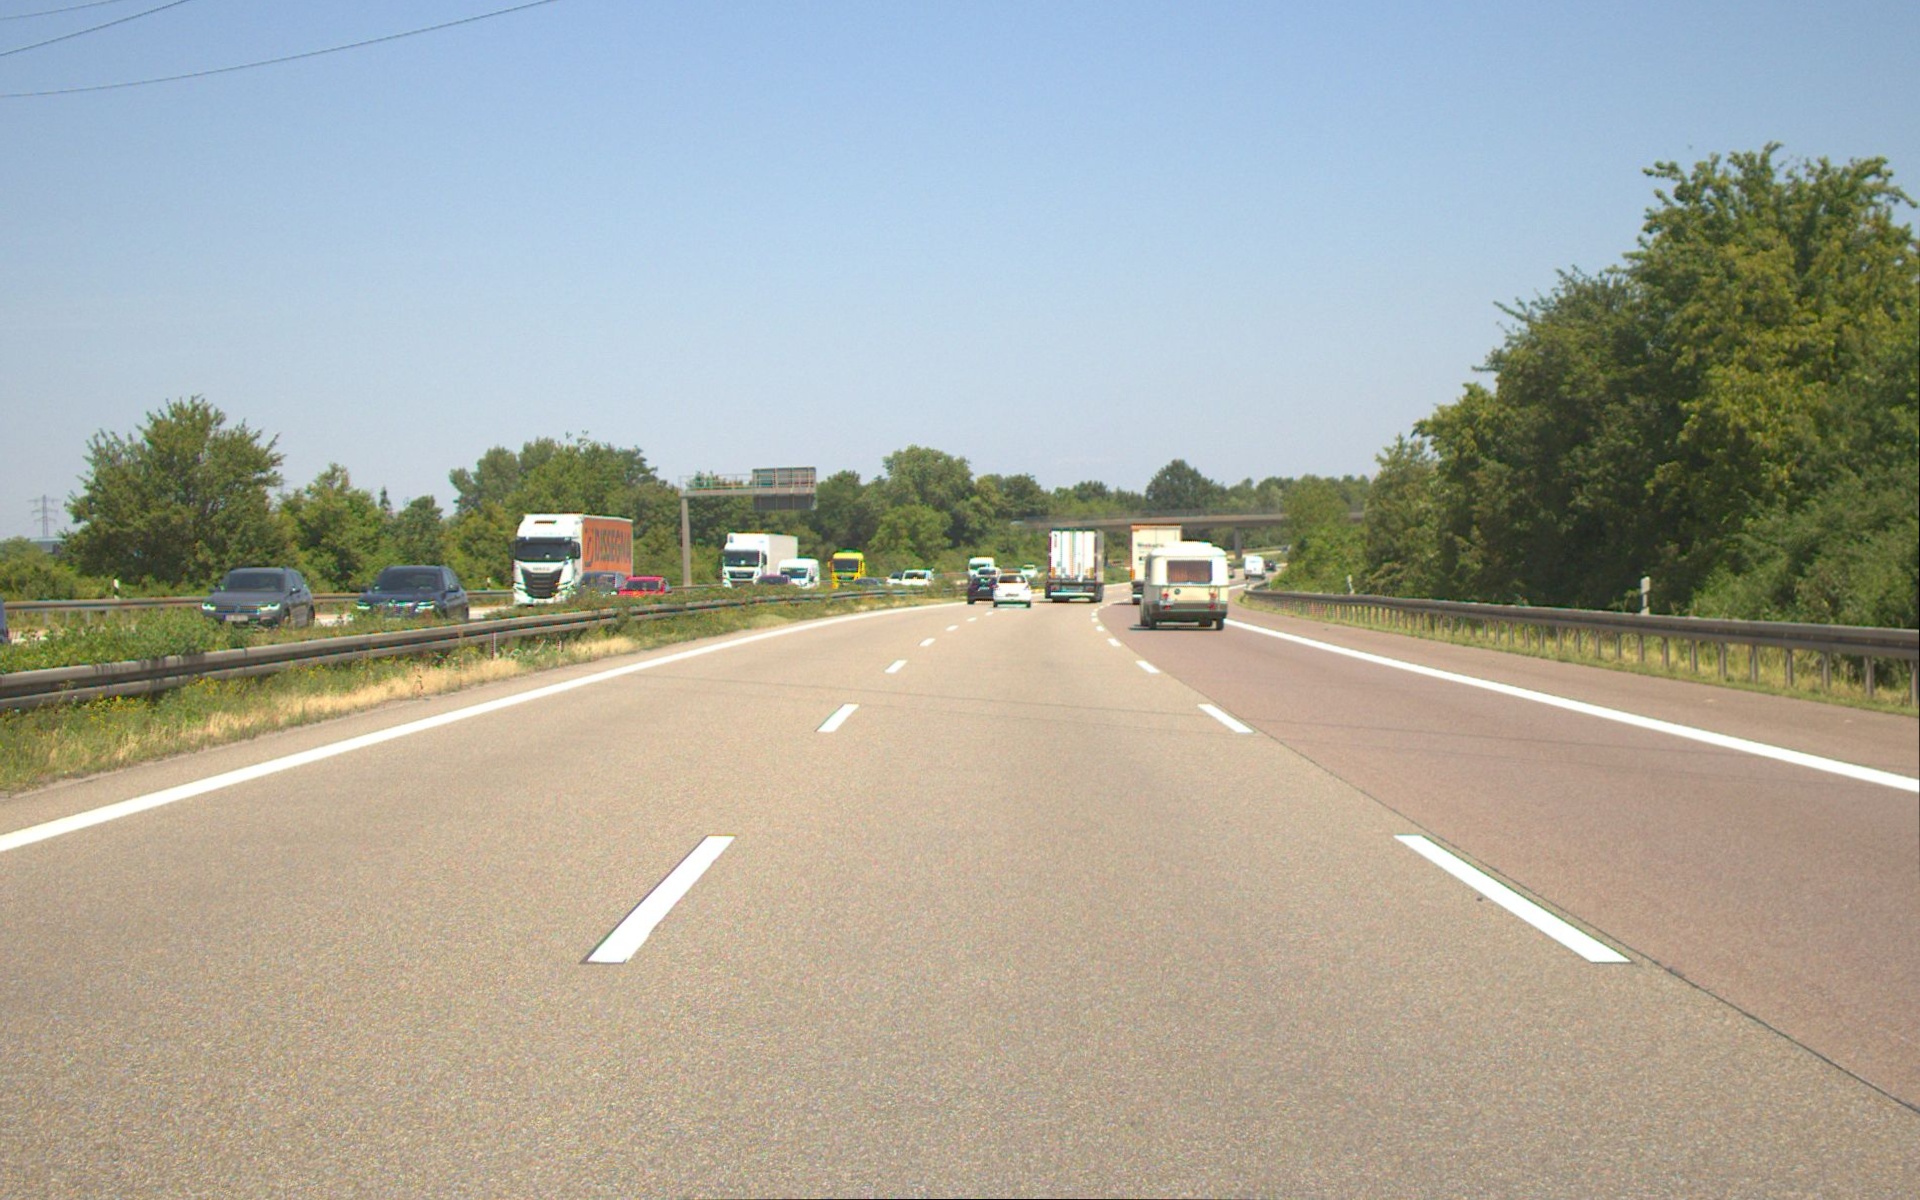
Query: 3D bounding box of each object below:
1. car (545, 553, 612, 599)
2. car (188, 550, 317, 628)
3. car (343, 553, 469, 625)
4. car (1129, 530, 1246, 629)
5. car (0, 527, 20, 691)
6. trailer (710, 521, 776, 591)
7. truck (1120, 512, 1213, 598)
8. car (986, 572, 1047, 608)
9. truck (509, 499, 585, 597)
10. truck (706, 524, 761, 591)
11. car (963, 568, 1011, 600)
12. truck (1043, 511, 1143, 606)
[{"bbox_3d":[-14.371,-0.918,129.731,1.993,1.667,4.930,0,1,0],"label":"car"},{"bbox_3d":[-15.859,-0.272,77.251,1.993,1.612,4.412,0,2,0],"label":"car"},{"bbox_3d":[-11.855,-0.267,73.822,1.993,1.430,4.412,0,2,0],"label":"car"},{"bbox_3d":[5.681,-0.557,86.460,2.442,2.313,5.322,-1,2,-1],"label":"car"},{"bbox_3d":[-12.592,0.143,40.264,1.993,1.967,4.286,0,2,0],"label":"car"},{"bbox_3d":[-13.657,-2.782,217.611,2.835,4.243,13.637,0,1,2],"label":"trailer"},{"bbox_3d":[11.075,-2.490,182.317,3.182,4.289,16.012,1,2,10],"label":"truck"},{"bbox_3d":[2.539,-0.459,153.905,1.829,1.542,4.316,1,1,13],"label":"car"},{"bbox_3d":[-17.301,-2.217,144.216,2.482,4.005,4.602,0,2,3],"label":"truck"},{"bbox_3d":[-13.871,-2.592,210.907,2.830,4.067,5.165,0,1,2],"label":"truck"},{"bbox_3d":[1.381,-0.847,174.907,1.828,1.542,4.317,1,1,9],"label":"car"},{"bbox_3d":[7.562,-2.437,192.119,3.668,5.001,16.012,1,2,9],"label":"truck"}]
